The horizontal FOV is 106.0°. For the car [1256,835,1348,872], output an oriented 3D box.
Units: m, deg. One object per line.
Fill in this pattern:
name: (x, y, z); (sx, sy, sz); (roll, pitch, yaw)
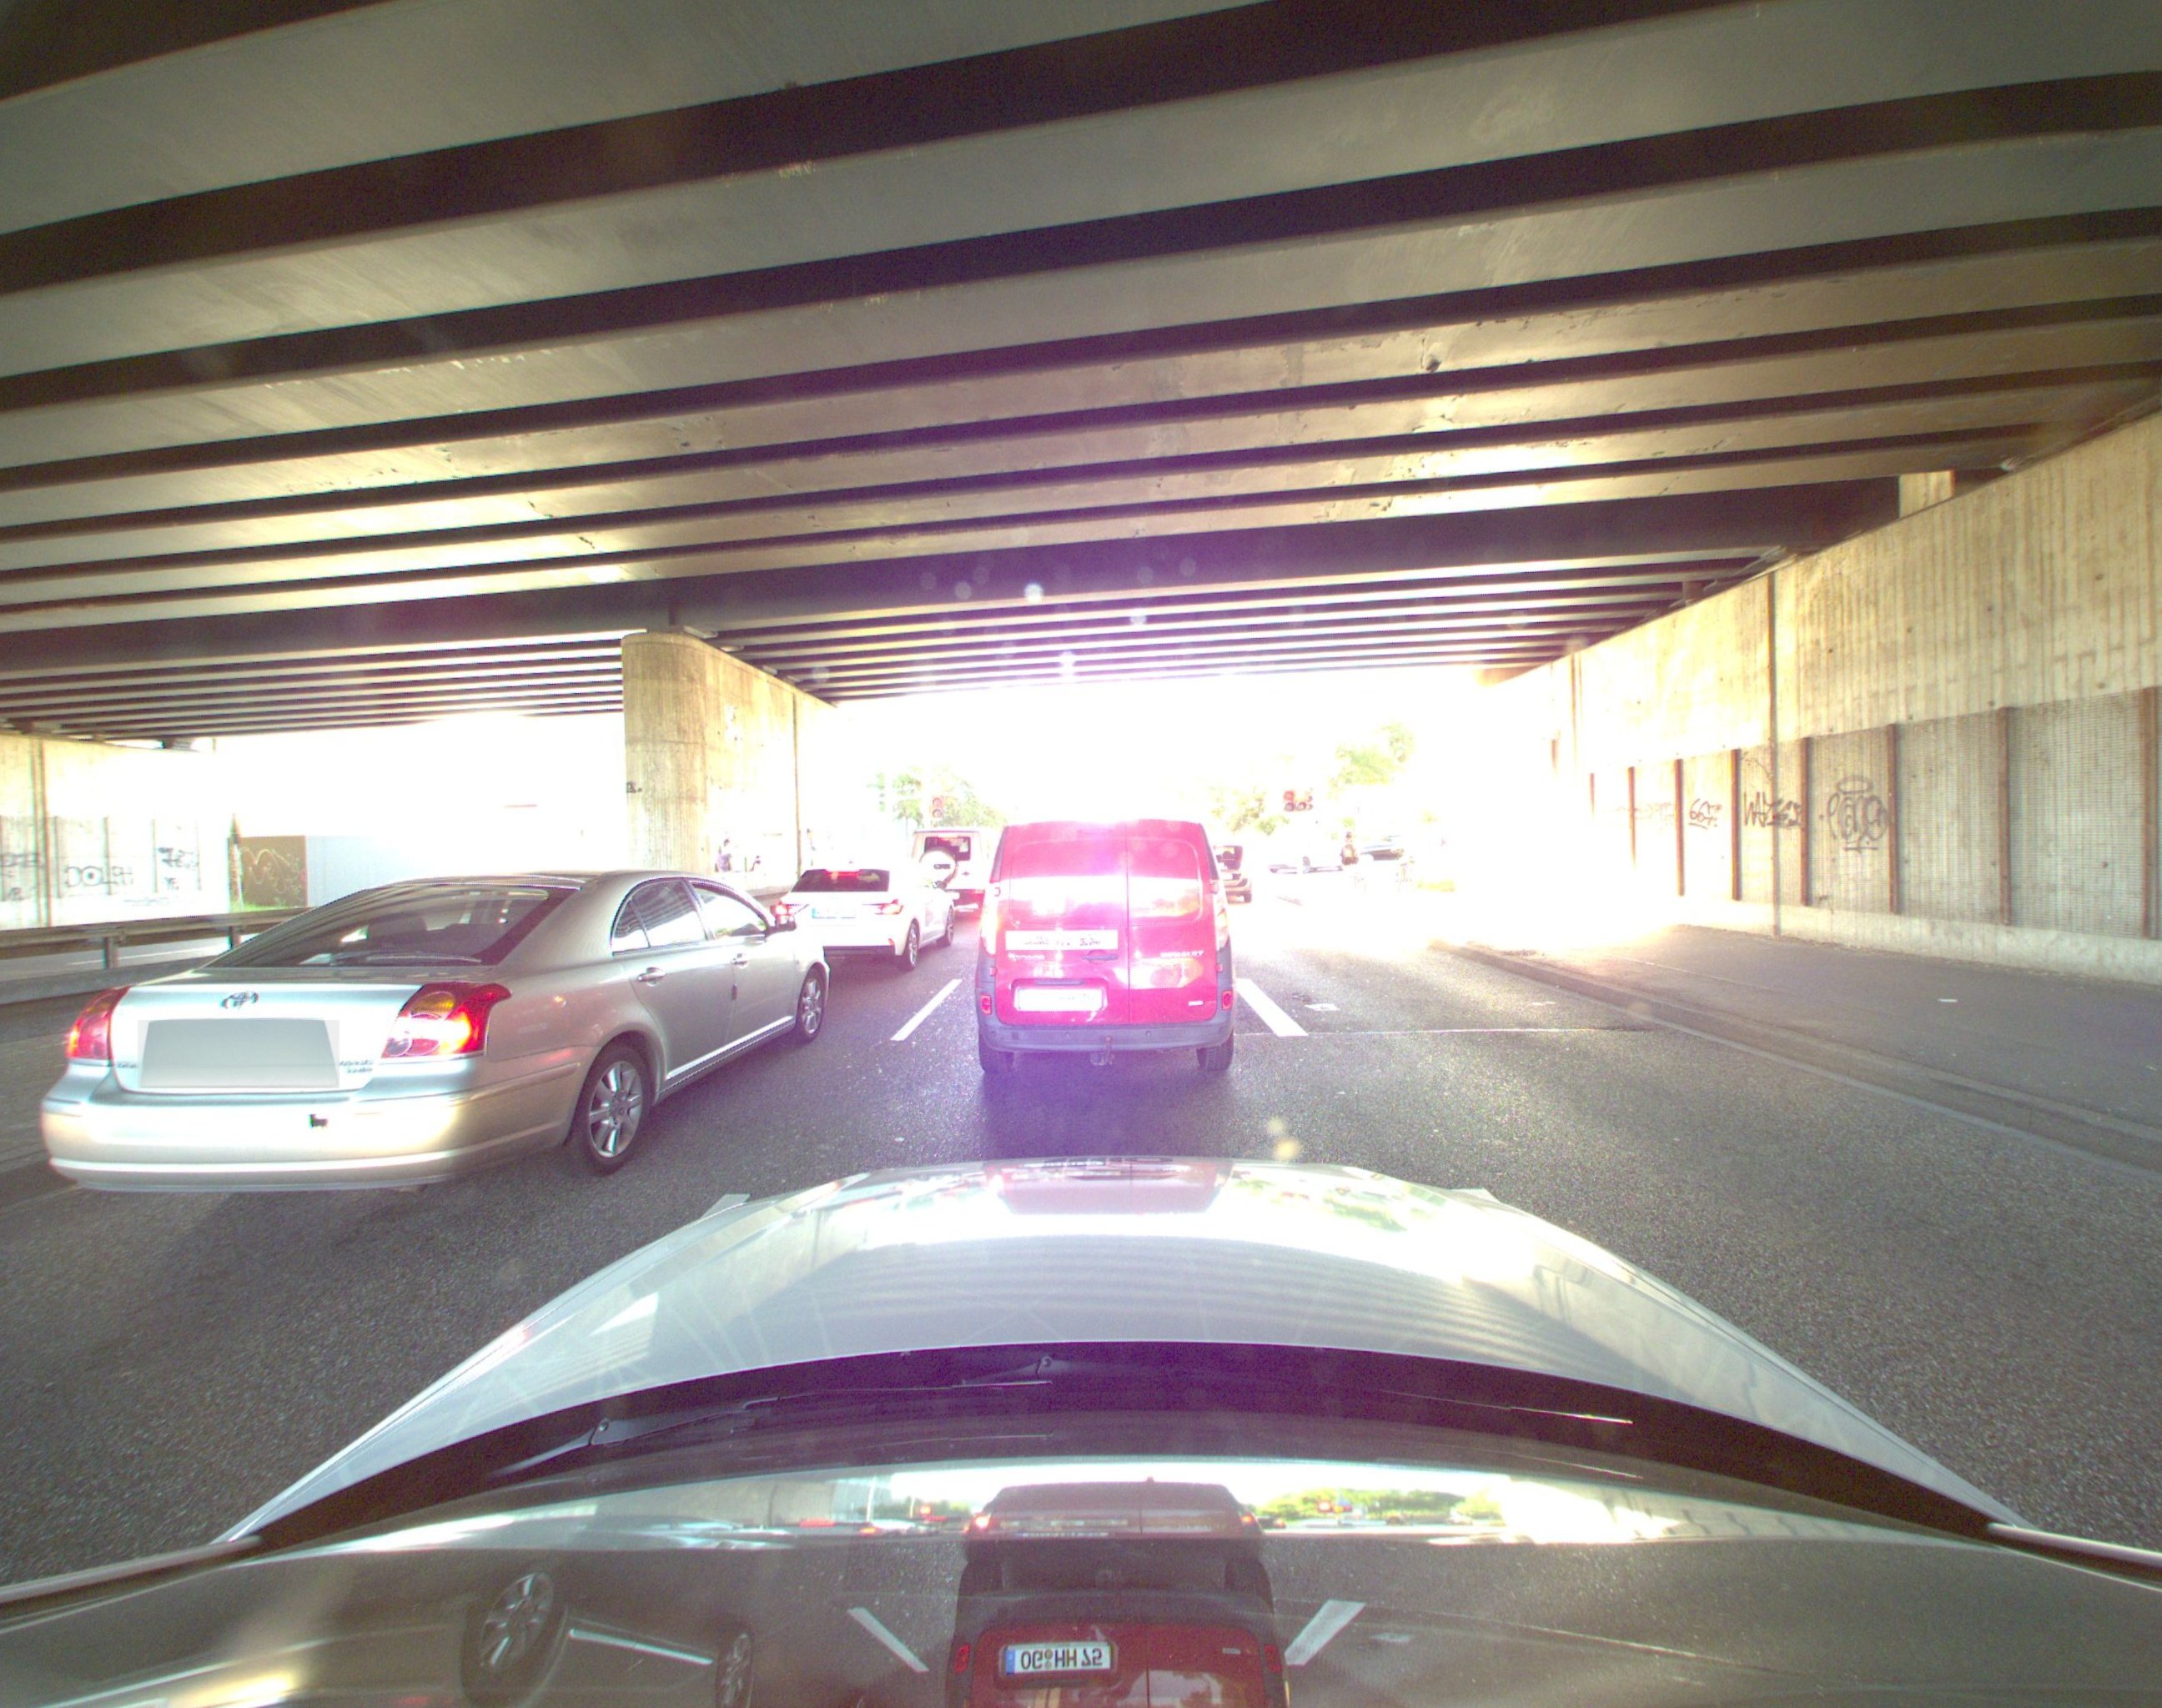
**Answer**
car: (9.957, -0.032, 36.572); (4.214, 1.543, 1.865); (-1, 0, -39)

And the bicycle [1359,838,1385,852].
bicycle: (21.284, -0.638, 59.603); (1.733, 1.023, 0.596); (-1, -1, 13)

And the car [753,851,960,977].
car: (-2.958, 0.716, 11.605); (1.807, 1.438, 3.732); (-1, 1, 1)

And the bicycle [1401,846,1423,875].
bicycle: (12.387, 0.249, 30.489); (0.666, 1.023, 2.065); (-1, -1, 20)

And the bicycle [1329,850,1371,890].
bicycle: (7.149, 0.419, 21.727); (0.589, 1.023, 1.751); (0, -1, 2)

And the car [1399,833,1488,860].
car: (21.383, -0.416, 48.200); (4.521, 1.514, 1.832); (0, -1, 9)

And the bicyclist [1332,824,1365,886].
bicyclist: (7.130, 0.034, 21.727); (0.589, 1.613, 0.943); (0, -1, 2)

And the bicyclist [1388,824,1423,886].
bicyclist: (8.219, 0.022, 20.629); (0.589, 1.548, 0.769); (0, -1, 1)

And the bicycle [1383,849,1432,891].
bicycle: (8.234, 0.402, 20.620); (0.589, 1.023, 1.751); (0, -1, 2)

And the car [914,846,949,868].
car: (-13.202, 0.249, 72.128); (1.817, 1.737, 4.634); (-4, 0, 4)

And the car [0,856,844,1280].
car: (-3.015, 0.773, 5.099); (1.727, 1.480, 4.319); (-1, 0, 0)

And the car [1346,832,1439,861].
car: (17.179, -0.410, 45.055); (4.522, 1.514, 1.832); (0, -1, 8)

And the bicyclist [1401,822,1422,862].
bicyclist: (12.394, -0.446, 30.535); (0.659, 1.474, 0.755); (-1, -1, 19)

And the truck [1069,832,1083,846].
truck: (-1.082, -3.355, 181.559); (2.399, 3.026, 6.661); (-4, 0, 3)

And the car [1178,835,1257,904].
car: (3.659, 0.385, 22.406); (1.711, 1.706, 3.985); (-1, 0, 4)

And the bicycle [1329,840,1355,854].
bicycle: (19.417, -0.537, 60.631); (1.734, 1.023, 0.595); (-1, -1, 10)

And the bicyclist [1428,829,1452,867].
bicyclist: (13.956, -0.240, 31.645); (0.647, 1.480, 0.618); (-1, 1, 1)

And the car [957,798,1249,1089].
car: (0.196, 0.570, 7.043); (1.798, 1.794, 4.001); (0, -1, 2)

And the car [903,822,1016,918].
car: (-2.695, 0.348, 19.110); (1.794, 1.989, 4.591); (0, -1, 2)
